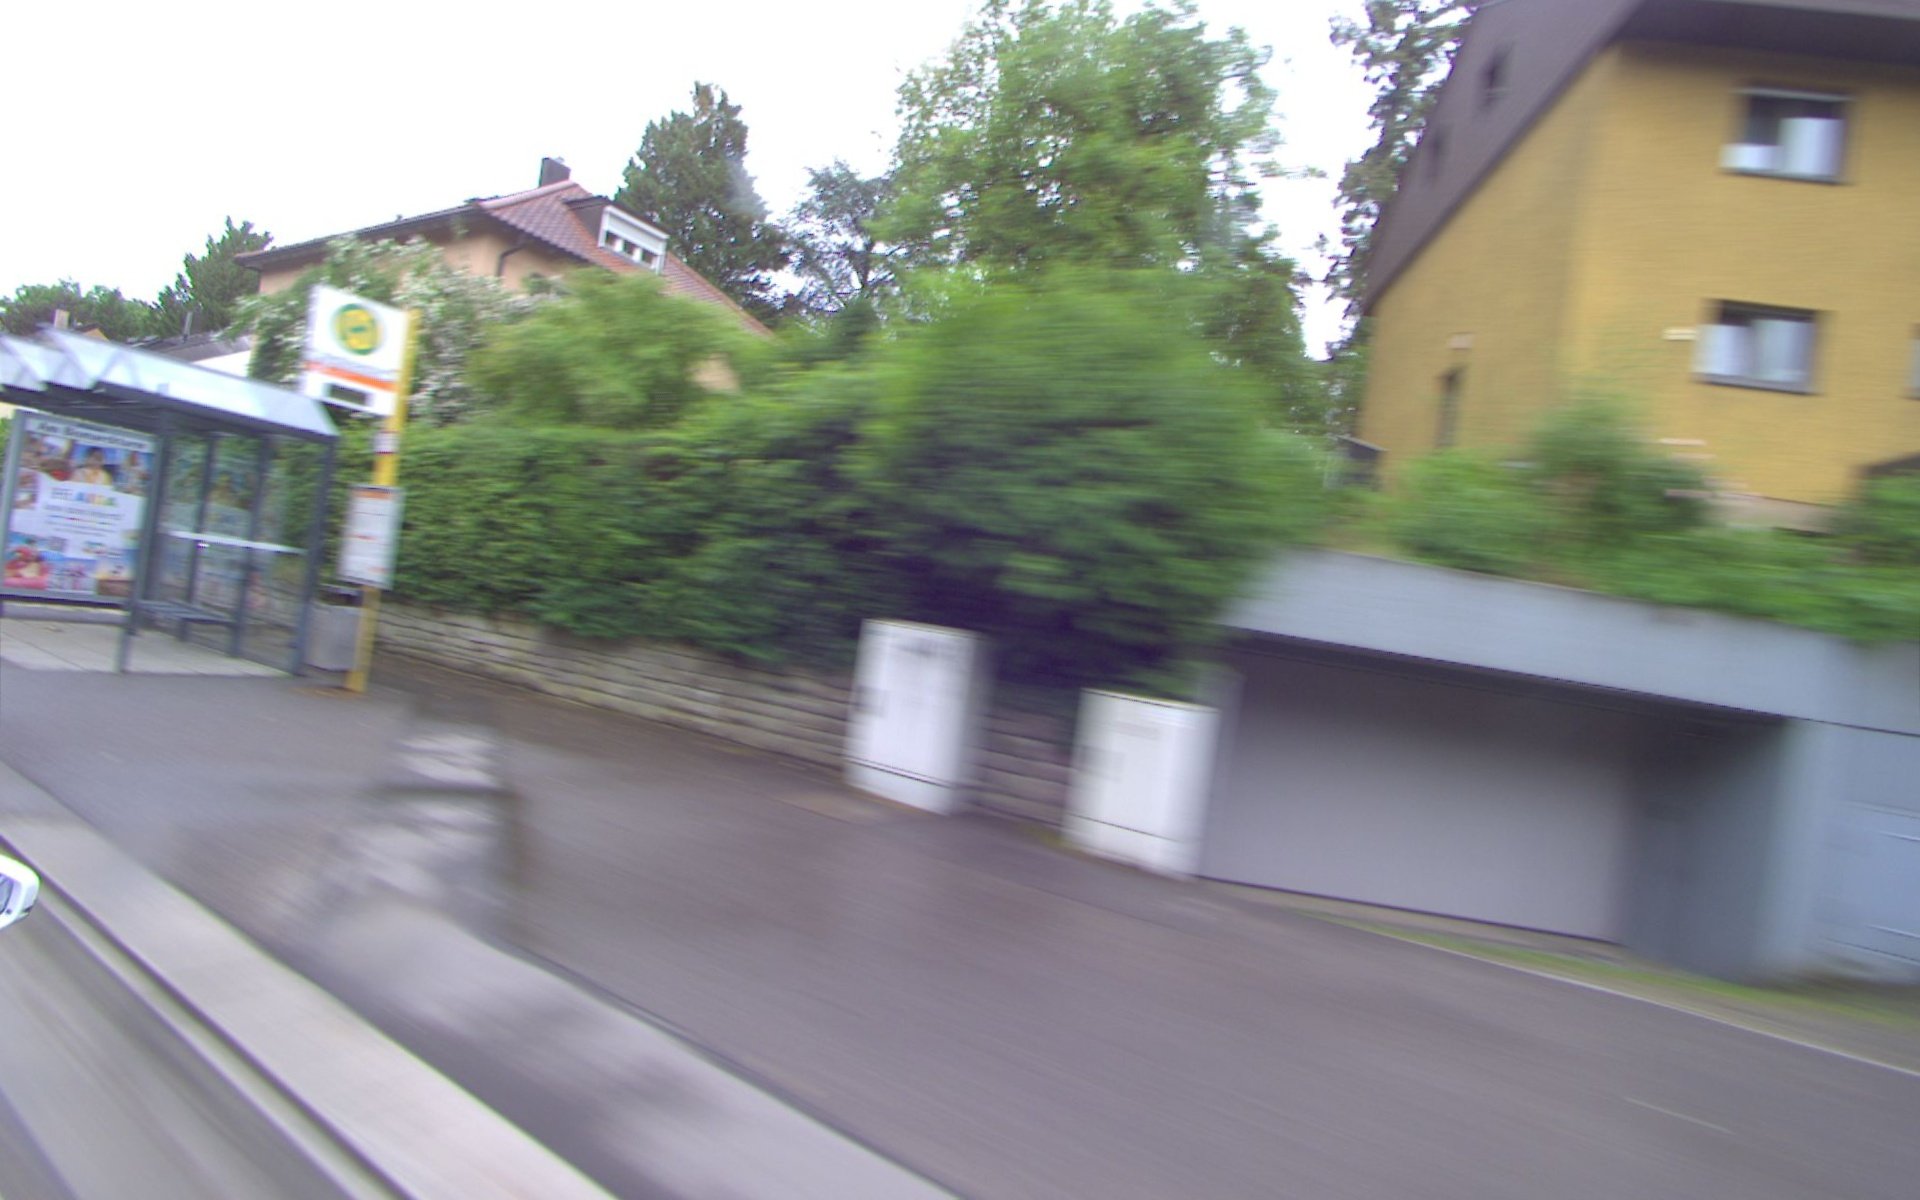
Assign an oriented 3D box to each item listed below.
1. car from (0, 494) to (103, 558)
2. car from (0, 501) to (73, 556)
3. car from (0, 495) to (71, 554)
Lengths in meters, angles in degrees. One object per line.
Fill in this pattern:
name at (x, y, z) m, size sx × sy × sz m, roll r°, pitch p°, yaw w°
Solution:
car at (-26.749, -2.163, 28.275) m, size 1.798 × 1.556 × 3.658 m, roll 6°, pitch 1°, yaw 32°
car at (-30.705, -2.437, 31.314) m, size 1.853 × 1.477 × 4.249 m, roll 5°, pitch -2°, yaw 34°
car at (-29.174, -2.385, 29.943) m, size 1.853 × 1.585 × 3.659 m, roll 6°, pitch 0°, yaw 34°
